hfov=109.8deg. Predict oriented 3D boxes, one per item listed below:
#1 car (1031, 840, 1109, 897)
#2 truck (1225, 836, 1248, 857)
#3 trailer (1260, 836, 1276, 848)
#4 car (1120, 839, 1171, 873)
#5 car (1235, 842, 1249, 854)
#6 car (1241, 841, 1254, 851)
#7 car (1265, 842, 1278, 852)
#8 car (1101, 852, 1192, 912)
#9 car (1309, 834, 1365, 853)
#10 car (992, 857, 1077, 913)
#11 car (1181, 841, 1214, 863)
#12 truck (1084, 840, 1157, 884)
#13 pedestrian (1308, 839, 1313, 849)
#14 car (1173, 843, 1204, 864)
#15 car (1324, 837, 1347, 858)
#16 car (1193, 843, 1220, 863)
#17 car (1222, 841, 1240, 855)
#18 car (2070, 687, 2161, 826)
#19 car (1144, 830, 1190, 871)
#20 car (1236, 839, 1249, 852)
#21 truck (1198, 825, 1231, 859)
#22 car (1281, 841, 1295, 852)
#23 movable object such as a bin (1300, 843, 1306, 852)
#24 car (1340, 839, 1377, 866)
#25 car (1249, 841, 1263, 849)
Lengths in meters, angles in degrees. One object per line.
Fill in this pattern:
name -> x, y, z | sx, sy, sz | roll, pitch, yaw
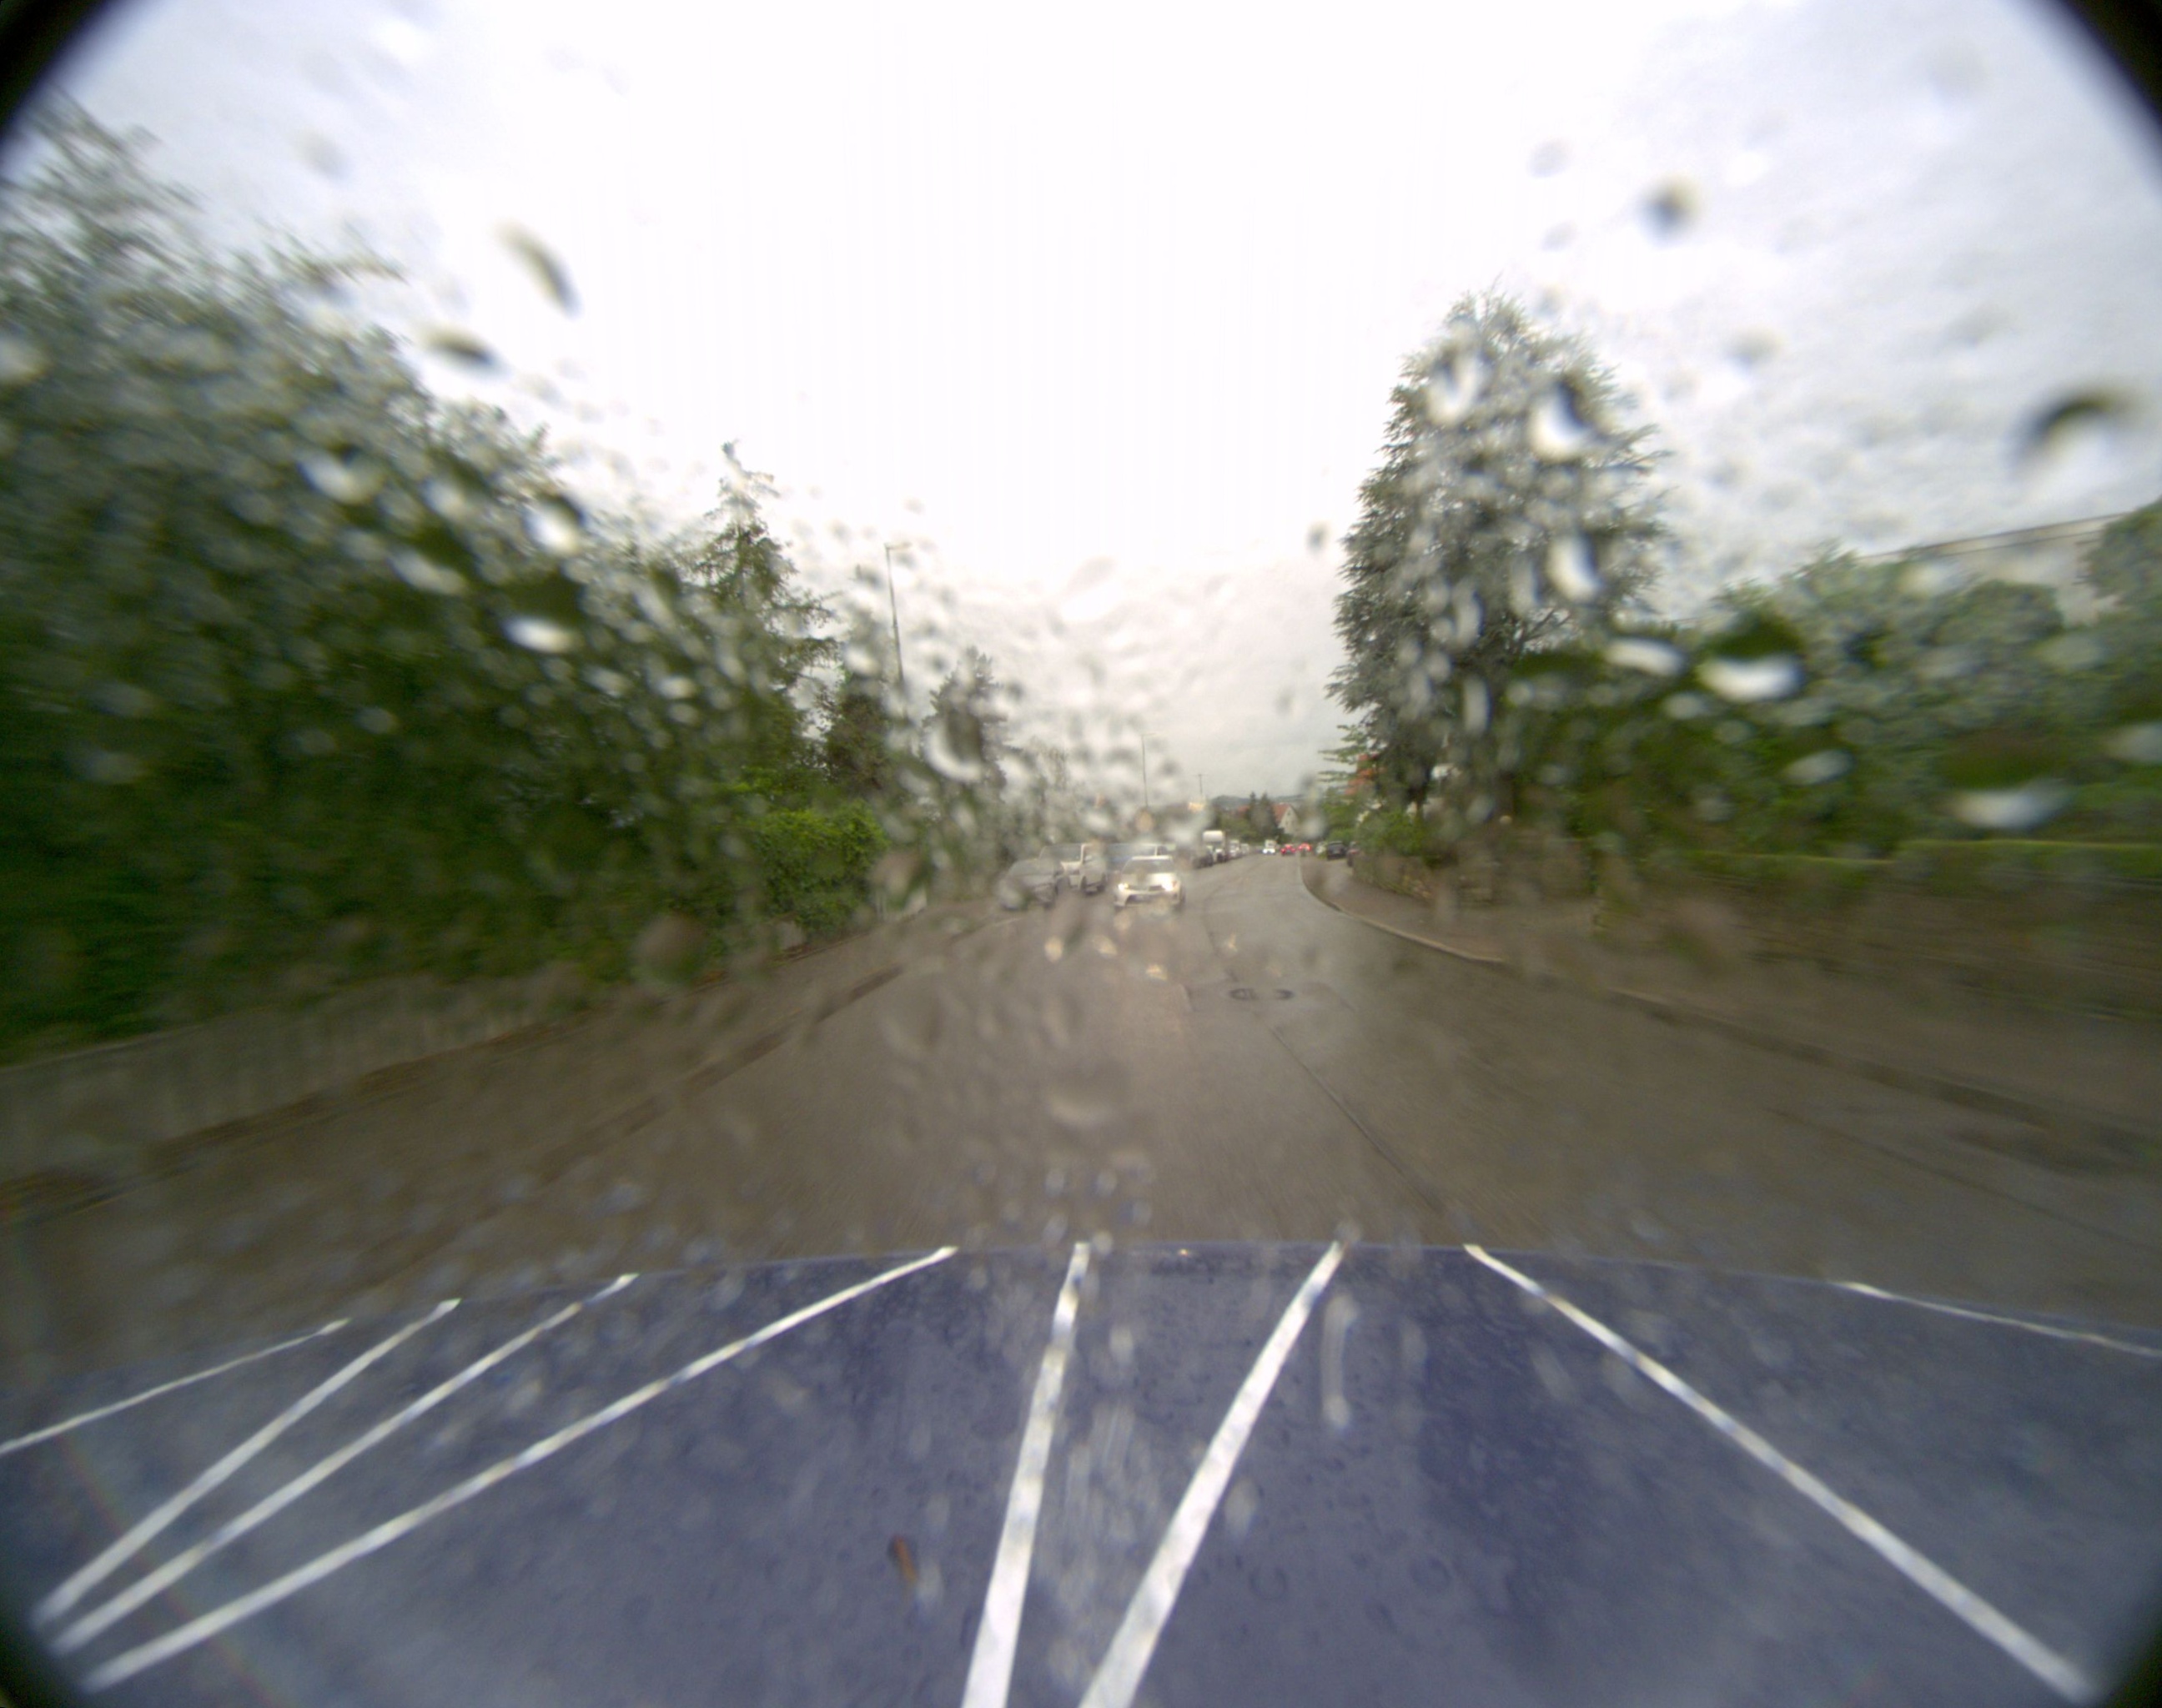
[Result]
car -> -0.299, 0.463, 29.009 | 1.863, 1.910, 5.083 | -3, 0, 11
truck -> 20.584, -0.993, 100.414 | 2.242, 2.617, 6.545 | -1, 1, 17
trailer -> 38.125, -2.477, 154.997 | 1.950, 2.443, 5.442 | -1, 2, 26
car -> 3.767, 0.050, 43.604 | 1.829, 1.832, 5.275 | -1, 1, 17
car -> 23.678, -0.904, 111.438 | 1.650, 1.554, 3.967 | -1, 1, 17
car -> 28.353, -1.387, 129.073 | 1.818, 1.498, 4.729 | -1, 1, 17
car -> 31.774, -1.155, 126.693 | 1.818, 1.498, 4.729 | -1, 1, 19
car -> 1.935, 0.712, 21.253 | 1.861, 1.369, 4.185 | -3, 0, 14
car -> 26.413, -1.081, 78.458 | 5.087, 1.933, 2.145 | -1, 1, 32
car -> -1.299, 0.872, 23.061 | 1.688, 1.448, 4.060 | -3, 0, 9
car -> 9.688, -0.176, 62.736 | 1.938, 1.662, 4.699 | -1, 1, 18
truck -> 2.100, 0.321, 37.556 | 2.117, 1.841, 6.625 | -4, 0, 15
pedestrian -> 36.768, -1.637, 121.498 | 0.717, 1.626, 0.708 | -1, 1, 17
car -> 8.031, -0.063, 56.591 | 1.591, 1.421, 3.802 | -1, 1, 18
car -> 23.042, -0.606, 68.684 | 1.691, 1.578, 4.202 | -8, -2, 19
car -> 11.848, -0.114, 71.371 | 1.848, 1.674, 5.644 | -1, 1, 16
car -> 18.440, -0.755, 93.224 | 1.762, 1.595, 4.671 | -1, 1, 15
car -> 13.690, -1.423, 7.793 | 3.789, 1.514, 1.734 | -12, -4, 33
car -> 5.741, -0.280, 49.950 | 2.034, 2.491, 5.962 | -1, 1, 16
car -> 25.110, -1.340, 117.897 | 1.851, 1.871, 4.914 | -1, 1, 14
truck -> 13.948, -1.310, 78.972 | 2.439, 3.316, 7.972 | -1, 1, 16
car -> 29.275, -1.091, 107.411 | 1.776, 1.429, 4.366 | 1, 1, 15
movable object such as a bin -> 26.985, -0.805, 92.309 | 0.603, 1.057, 0.699 | -3, 1, 12
car -> 16.519, -0.132, 45.356 | 1.635, 1.388, 4.243 | -6, 0, 16
car -> 33.397, -1.699, 144.758 | 1.794, 1.451, 4.795 | -1, 1, 22
